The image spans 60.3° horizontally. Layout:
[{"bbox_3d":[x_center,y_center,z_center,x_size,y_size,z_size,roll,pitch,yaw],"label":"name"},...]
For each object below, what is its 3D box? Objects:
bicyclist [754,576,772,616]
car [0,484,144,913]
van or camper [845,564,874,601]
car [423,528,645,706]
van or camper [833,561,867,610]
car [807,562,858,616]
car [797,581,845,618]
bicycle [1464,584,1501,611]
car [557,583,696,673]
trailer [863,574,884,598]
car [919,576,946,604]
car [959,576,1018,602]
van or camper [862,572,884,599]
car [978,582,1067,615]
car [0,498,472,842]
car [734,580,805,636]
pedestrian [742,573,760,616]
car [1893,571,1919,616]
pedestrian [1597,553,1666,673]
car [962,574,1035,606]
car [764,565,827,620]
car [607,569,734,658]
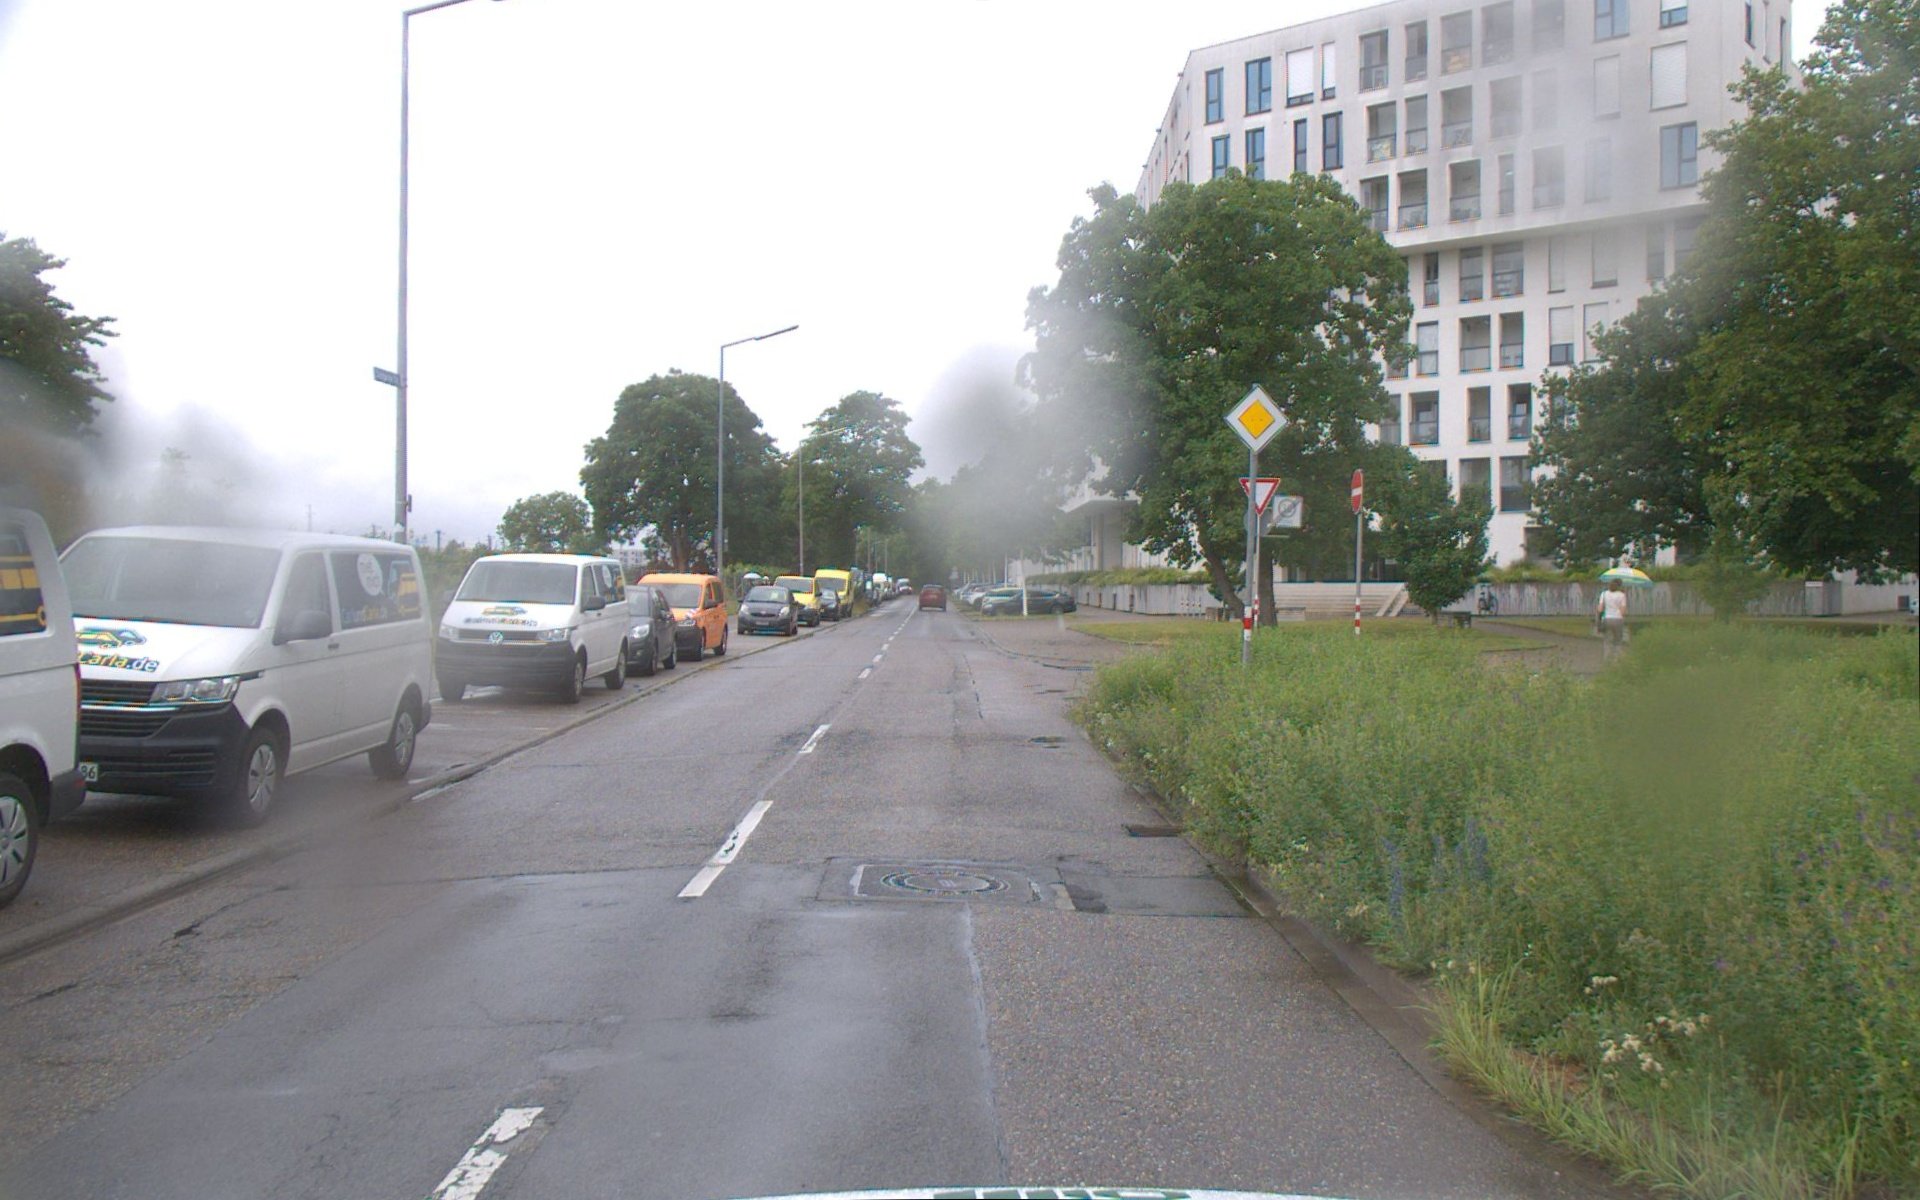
[{"bbox_3d":[-9.046,-0.188,75.951,0.684,1.861,1.008,0,0,-1],"label":"bicyclist"},{"bbox_3d":[-5.498,0.488,6.655,1.856,2.049,5.257,0,1,-1],"label":"car"},{"bbox_3d":[-7.826,-1.348,129.781,2.053,2.763,7.570,2,0,-3],"label":"van or camper"},{"bbox_3d":[-5.998,0.179,24.019,1.903,2.275,5.556,0,1,-1],"label":"car"},{"bbox_3d":[-7.531,-0.974,113.640,2.052,3.148,6.421,2,0,-2],"label":"van or camper"},{"bbox_3d":[-6.875,-0.590,89.864,2.147,2.741,6.082,2,0,1],"label":"car"},{"bbox_3d":[-6.491,-0.036,77.588,1.953,1.622,5.015,2,0,-2],"label":"car"},{"bbox_3d":[20.566,-0.106,65.091,0.711,1.051,2.064,0,0,38],"label":"bicycle"},{"bbox_3d":[-6.005,0.445,30.301,1.649,1.528,4.891,0,1,-1],"label":"car"},{"bbox_3d":[-8.529,-1.393,163.883,2.017,2.256,5.792,1,1,-3],"label":"trailer"},{"bbox_3d":[-1.802,-0.687,108.638,1.720,1.735,4.001,0,2,0],"label":"car"},{"bbox_3d":[2.224,-0.852,129.521,4.387,1.716,1.935,-3,1,-3],"label":"car"},{"bbox_3d":[-9.225,-1.532,176.468,1.953,2.810,7.897,1,0,-1],"label":"van or camper"},{"bbox_3d":[3.197,-0.085,84.943,4.397,1.507,1.691,-3,0,-2],"label":"car"},{"bbox_3d":[-5.505,0.392,12.790,1.920,2.094,5.274,1,1,-1],"label":"car"},{"bbox_3d":[-6.006,0.217,52.522,1.767,1.588,4.032,3,1,-1],"label":"car"},{"bbox_3d":[-10.090,-0.276,79.810,0.727,2.049,0.980,1,0,-1],"label":"pedestrian"},{"bbox_3d":[34.813,-0.177,56.646,4.747,1.533,1.616,3,2,40],"label":"car"},{"bbox_3d":[11.606,0.212,28.607,0.945,2.049,0.622,0,1,-1],"label":"pedestrian"},{"bbox_3d":[2.486,-0.642,107.810,4.451,1.714,1.884,-5,1,-4],"label":"car"},{"bbox_3d":[-6.432,-0.299,65.289,1.976,1.990,6.063,2,0,-1],"label":"car"},{"bbox_3d":[-6.122,0.252,35.461,1.900,1.798,4.331,0,1,1],"label":"car"}]
